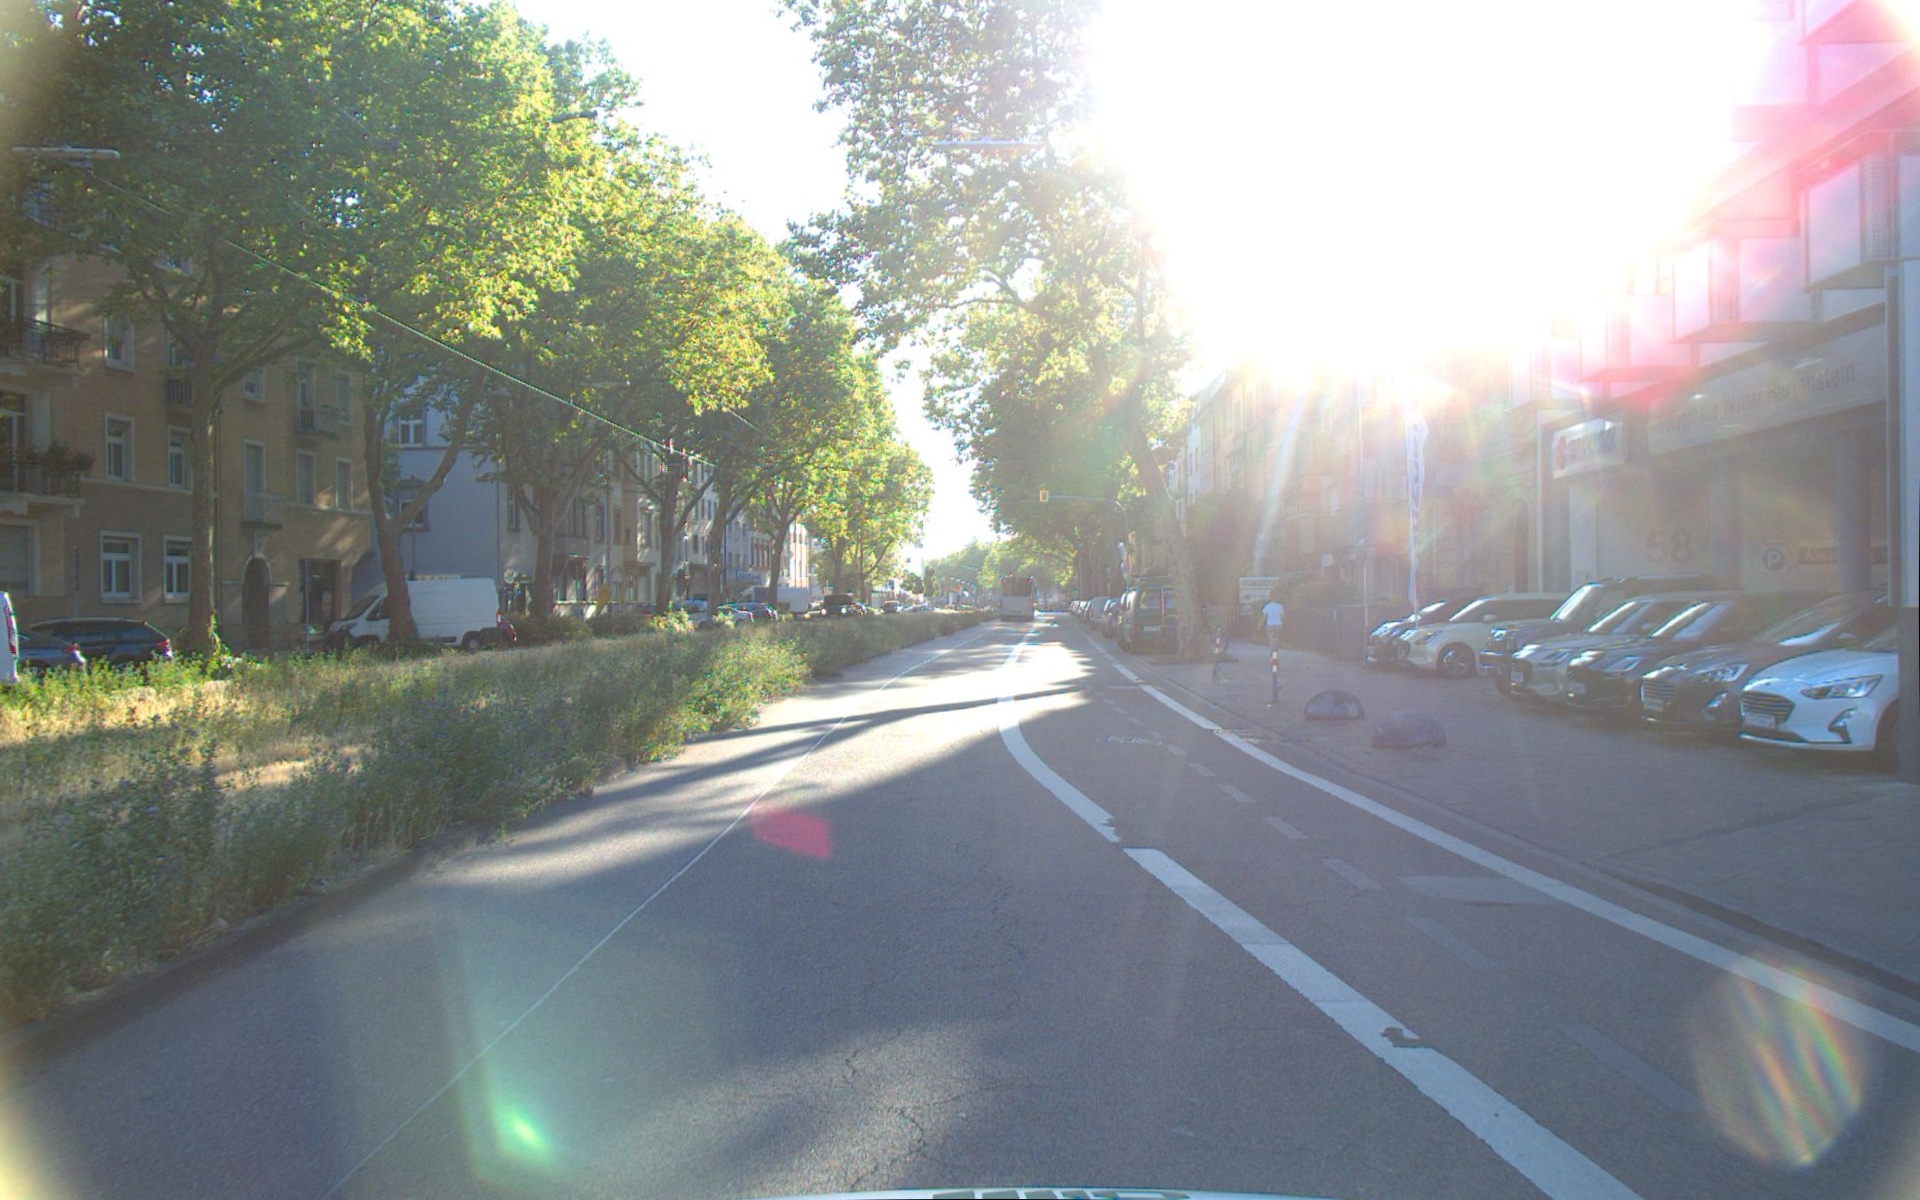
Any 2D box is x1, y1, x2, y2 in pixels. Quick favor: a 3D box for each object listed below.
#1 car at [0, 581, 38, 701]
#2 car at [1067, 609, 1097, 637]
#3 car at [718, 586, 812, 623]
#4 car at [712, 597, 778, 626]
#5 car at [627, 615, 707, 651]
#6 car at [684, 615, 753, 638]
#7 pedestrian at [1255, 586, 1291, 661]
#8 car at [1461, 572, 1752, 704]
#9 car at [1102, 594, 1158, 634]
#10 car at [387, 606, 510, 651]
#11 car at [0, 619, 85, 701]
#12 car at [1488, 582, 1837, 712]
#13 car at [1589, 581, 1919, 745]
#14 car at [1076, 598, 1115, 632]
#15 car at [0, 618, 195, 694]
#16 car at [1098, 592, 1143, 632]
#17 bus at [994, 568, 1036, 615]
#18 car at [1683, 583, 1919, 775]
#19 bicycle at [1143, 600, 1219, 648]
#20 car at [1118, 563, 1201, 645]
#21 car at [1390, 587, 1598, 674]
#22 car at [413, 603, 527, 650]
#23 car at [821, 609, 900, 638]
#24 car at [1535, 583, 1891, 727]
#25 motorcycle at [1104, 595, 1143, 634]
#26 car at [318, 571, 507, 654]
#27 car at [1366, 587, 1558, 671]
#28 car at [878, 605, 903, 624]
[{"bbox_3d":[-19.021,0.751,28.567,5.197,2.102,1.697,-1,0,-40],"label":"car"},{"bbox_3d":[8.001,1.514,108.959,1.708,1.801,4.989,-1,-1,2],"label":"car"},{"bbox_3d":[-14.844,0.325,126.118,6.830,2.725,2.174,0,-1,-18],"label":"car"},{"bbox_3d":[-14.347,0.781,110.424,3.944,1.728,1.838,-3,0,-29],"label":"car"},{"bbox_3d":[-16.366,1.831,92.436,3.959,1.915,1.973,0,-1,-38],"label":"car"},{"bbox_3d":[-14.810,1.633,101.426,3.943,1.380,1.570,0,-1,-29],"label":"car"},{"bbox_3d":[7.018,0.527,37.089,0.649,1.657,0.923,-1,-1,2],"label":"pedestrian"},{"bbox_3d":[9.083,0.512,23.469,3.505,1.750,1.683,-1,1,4],"label":"car"},{"bbox_3d":[6.917,0.583,67.650,1.952,1.587,3.981,-1,-1,2],"label":"car"},{"bbox_3d":[-17.492,0.959,56.643,3.674,1.424,1.711,-1,0,-40],"label":"car"},{"bbox_3d":[-19.131,1.166,31.468,4.137,1.517,1.697,-1,0,-40],"label":"car"},{"bbox_3d":[9.010,0.584,21.443,3.740,1.567,1.859,-1,0,1],"label":"car"},{"bbox_3d":[8.666,0.595,16.905,3.789,1.540,1.809,-1,1,1],"label":"car"},{"bbox_3d":[7.366,0.806,89.728,1.707,1.801,4.398,-1,-1,10],"label":"car"},{"bbox_3d":[-18.478,1.152,35.203,3.693,1.447,1.697,-1,0,-40],"label":"car"},{"bbox_3d":[7.054,0.534,73.107,1.708,1.720,3.853,-1,-1,2],"label":"car"},{"bbox_3d":[3.982,-0.583,121.537,2.775,3.292,8.182,-1,-1,0],"label":"bus"},{"bbox_3d":[8.662,0.628,14.601,3.734,1.527,1.913,-1,1,-3],"label":"car"},{"bbox_3d":[5.430,0.595,40.616,1.806,1.163,0.348,-1,-1,2],"label":"bicycle"},{"bbox_3d":[5.890,0.133,49.310,1.952,2.297,5.236,-1,-1,2],"label":"car"},{"bbox_3d":[9.890,0.562,30.821,3.346,1.545,1.758,-1,-1,5],"label":"car"},{"bbox_3d":[-17.618,0.935,59.481,3.658,1.492,1.719,-2,1,-29],"label":"car"},{"bbox_3d":[-6.225,1.471,103.409,4.687,1.723,1.865,0,-1,-19],"label":"car"},{"bbox_3d":[8.679,0.604,19.268,3.349,1.552,1.740,-1,0,-1],"label":"car"},{"bbox_3d":[6.239,0.528,63.195,0.809,1.422,2.374,-3,0,-9],"label":"motorcycle"},{"bbox_3d":[-17.740,0.369,53.755,5.456,2.573,2.096,-1,0,-40],"label":"car"},{"bbox_3d":[9.899,0.569,32.746,3.348,1.573,1.442,-1,-1,0],"label":"car"},{"bbox_3d":[-5.987,1.246,142.722,1.752,1.601,4.002,-1,0,3],"label":"car"}]
